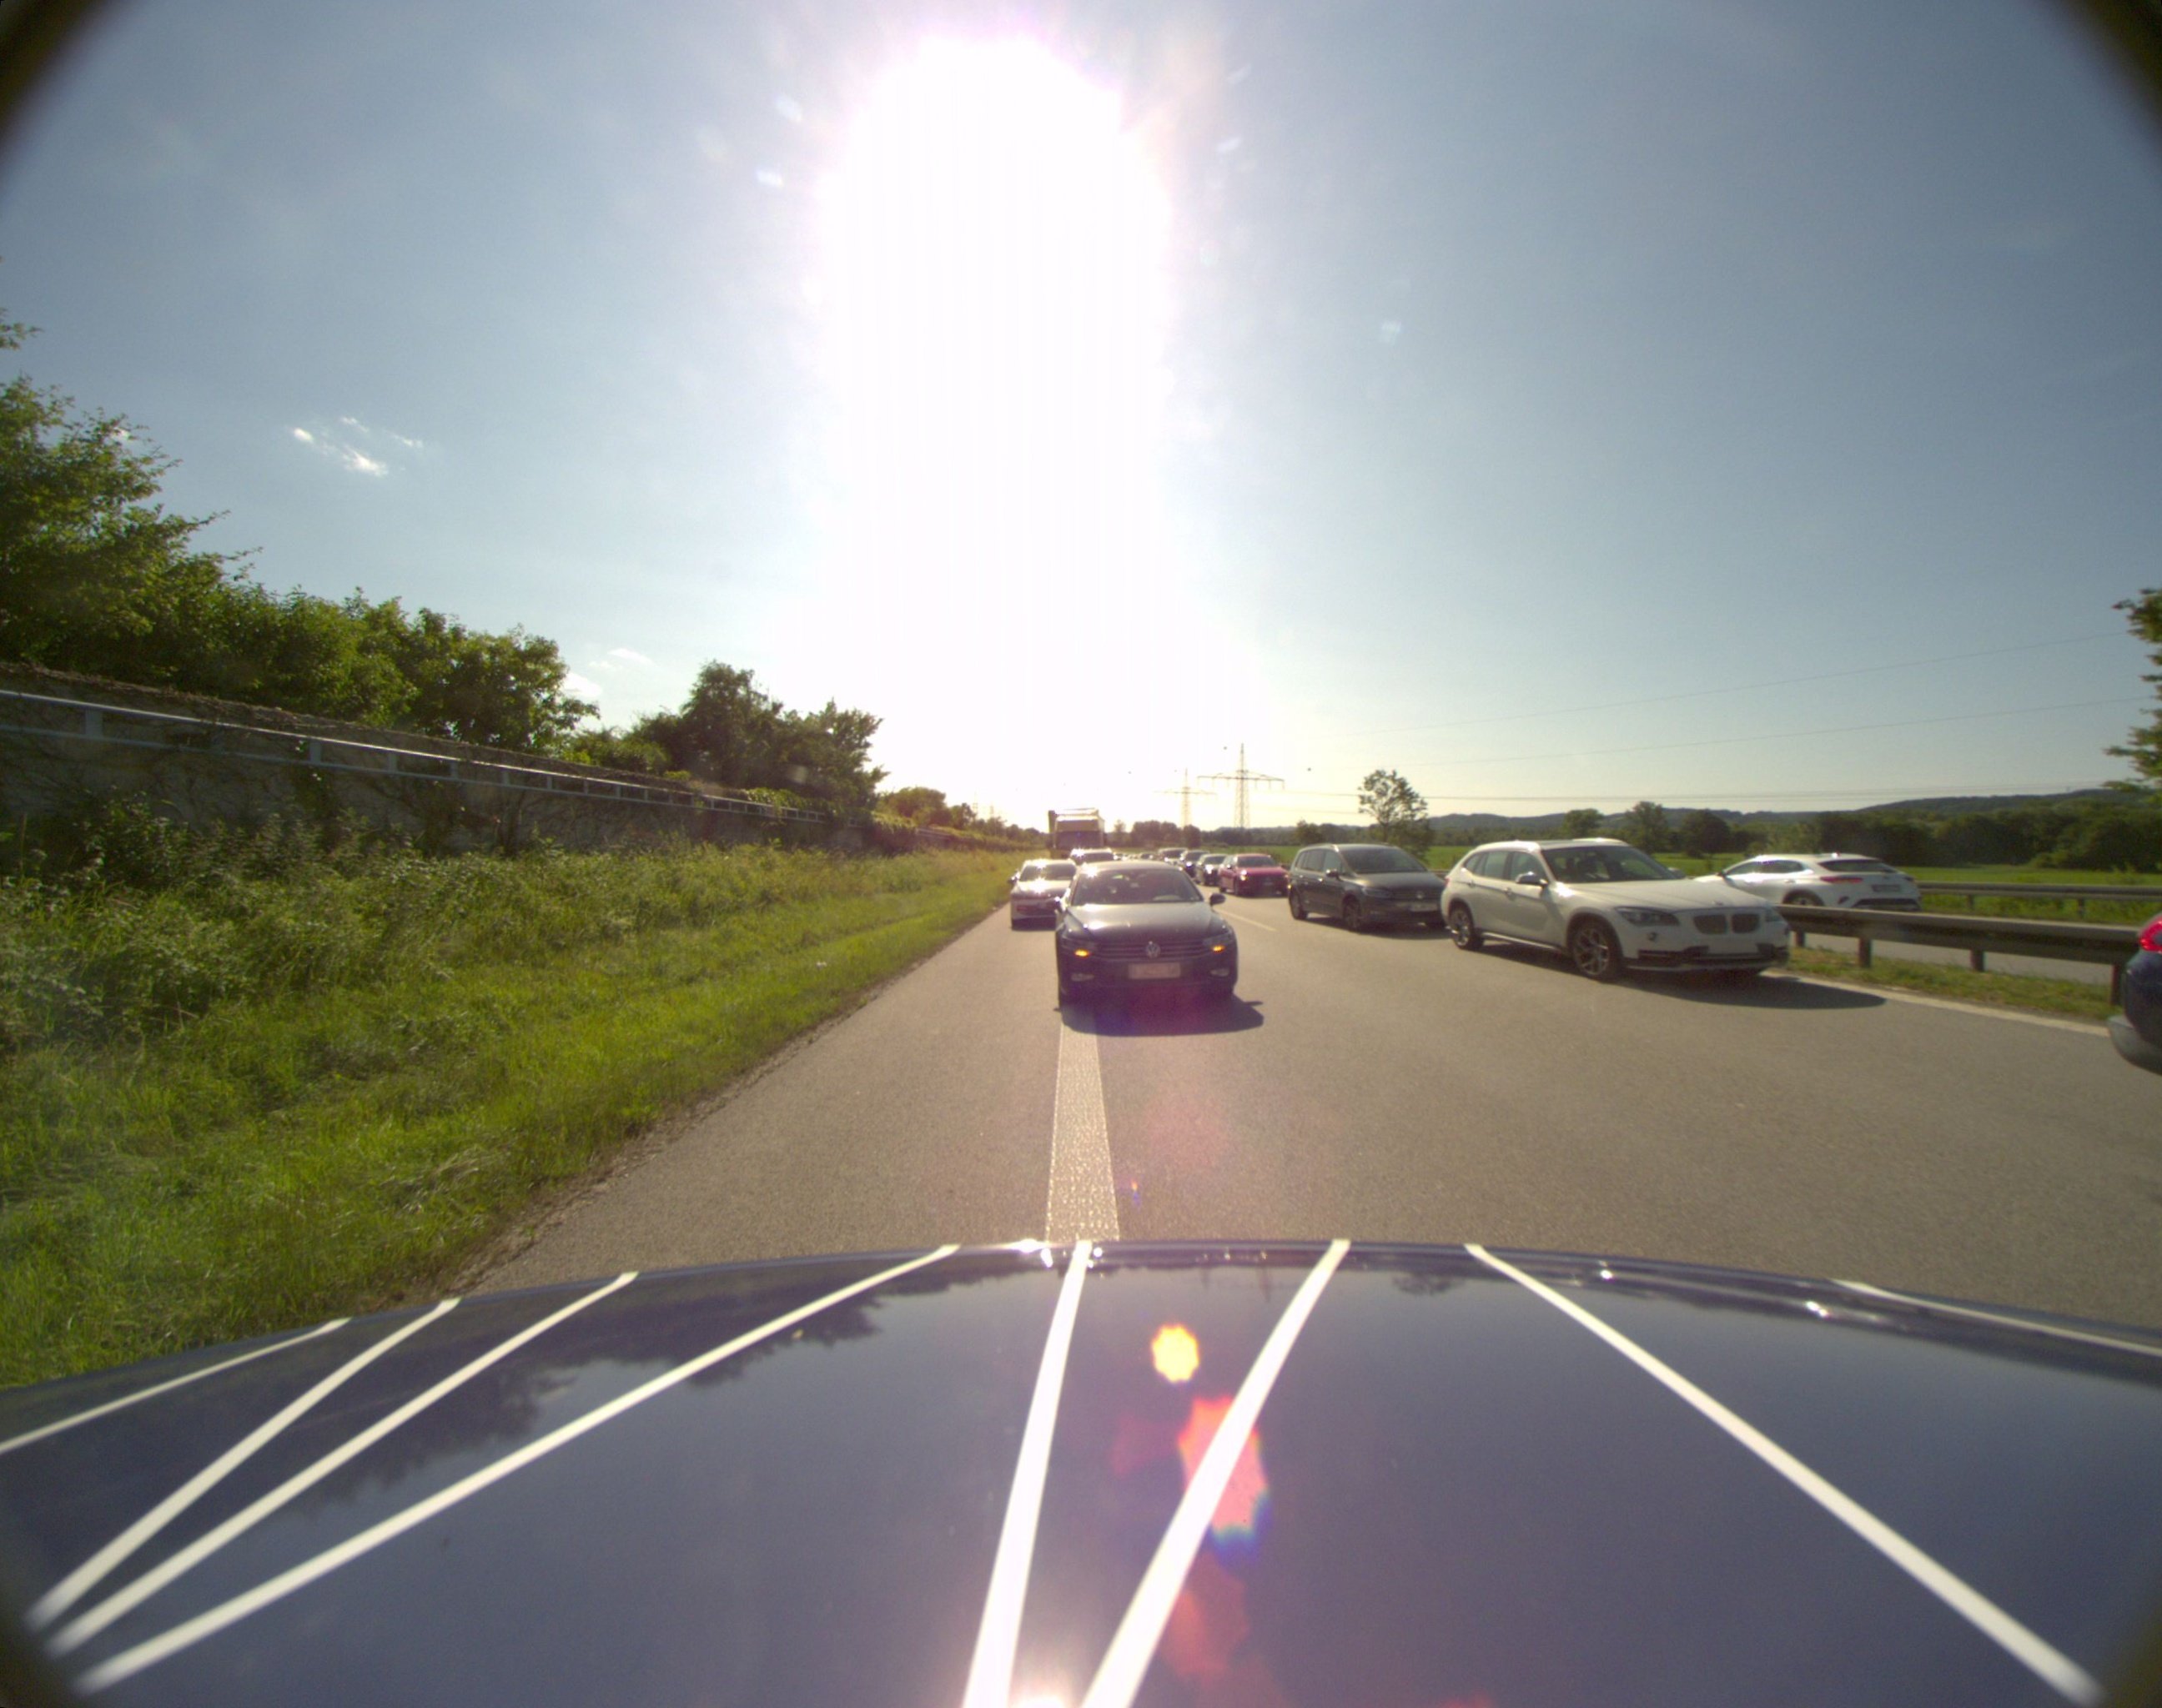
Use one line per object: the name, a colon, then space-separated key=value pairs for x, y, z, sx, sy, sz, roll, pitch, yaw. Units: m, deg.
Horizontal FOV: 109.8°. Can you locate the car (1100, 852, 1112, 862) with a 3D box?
car: x=4.035 y=0.502 z=124.453 sx=1.820 sy=1.450 sz=4.117 roll=-2 pitch=0 yaw=0

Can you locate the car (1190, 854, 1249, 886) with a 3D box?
car: x=6.400 y=0.690 z=35.480 sx=1.895 sy=1.390 sz=3.999 roll=-1 pitch=0 yaw=-2

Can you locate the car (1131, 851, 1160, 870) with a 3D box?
car: x=5.488 y=0.559 z=64.889 sx=1.999 sy=1.522 sz=3.999 roll=-1 pitch=0 yaw=-1

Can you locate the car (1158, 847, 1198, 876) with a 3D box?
car: x=6.123 y=0.456 z=48.434 sx=1.902 sy=1.777 sz=4.199 roll=0 pitch=0 yaw=-2

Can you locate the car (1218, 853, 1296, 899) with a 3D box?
car: x=6.103 y=0.718 z=26.771 sx=1.820 sy=1.450 sz=4.117 roll=0 pitch=0 yaw=0

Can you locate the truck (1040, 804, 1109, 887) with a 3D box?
truck: x=-0.266 y=-0.472 z=41.631 sx=3.333 sy=4.089 sz=6.969 roll=-2 pitch=1 yaw=1

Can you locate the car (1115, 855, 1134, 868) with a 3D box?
car: x=4.852 y=0.830 z=84.974 sx=1.820 sy=1.450 sz=4.117 roll=0 pitch=0 yaw=-1

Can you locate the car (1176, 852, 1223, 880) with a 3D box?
car: x=6.400 y=0.638 z=41.570 sx=1.894 sy=1.446 sz=3.999 roll=-1 pitch=0 yaw=-1

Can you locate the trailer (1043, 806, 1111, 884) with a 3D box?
trailer: x=0.032 y=-0.556 z=47.734 sx=3.387 sy=4.089 sz=13.953 roll=-2 pitch=1 yaw=3

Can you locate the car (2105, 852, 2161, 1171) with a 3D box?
car: x=6.150 y=0.733 z=1.916 sx=1.692 sy=1.526 sz=3.947 roll=-2 pitch=0 yaw=-4

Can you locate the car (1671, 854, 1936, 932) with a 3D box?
car: x=15.543 y=0.755 z=16.735 sx=1.699 sy=1.418 sz=4.304 roll=-2 pitch=0 yaw=0

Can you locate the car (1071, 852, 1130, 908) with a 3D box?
car: x=0.556 y=0.770 z=24.804 sx=1.717 sy=1.614 sz=4.325 roll=-2 pitch=0 yaw=-1

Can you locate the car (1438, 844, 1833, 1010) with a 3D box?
car: x=6.338 y=0.696 z=9.414 sx=1.832 sy=1.564 sz=4.163 roll=-1 pitch=0 yaw=0

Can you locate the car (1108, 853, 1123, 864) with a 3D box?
car: x=4.698 y=0.645 z=104.092 sx=1.820 sy=1.450 sz=4.117 roll=-2 pitch=0 yaw=-1

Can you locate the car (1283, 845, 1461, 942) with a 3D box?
car: x=5.547 y=0.670 z=15.103 sx=1.820 sy=1.607 sz=4.116 roll=-2 pitch=0 yaw=-2

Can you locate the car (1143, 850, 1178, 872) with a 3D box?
car: x=5.779 y=0.500 z=55.601 sx=1.999 sy=1.522 sz=3.999 roll=-1 pitch=0 yaw=-1

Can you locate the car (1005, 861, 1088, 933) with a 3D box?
car: x=-0.764 y=0.940 z=18.320 sx=1.717 sy=1.417 sz=4.325 roll=-2 pitch=0 yaw=-1

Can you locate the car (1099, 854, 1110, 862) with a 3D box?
car: x=3.947 y=0.665 z=130.099 sx=1.820 sy=1.450 sz=4.117 roll=0 pitch=0 yaw=0

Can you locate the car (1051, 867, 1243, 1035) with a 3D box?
car: x=0.583 y=0.925 z=9.128 sx=1.717 sy=1.405 sz=4.325 roll=-2 pitch=0 yaw=-1

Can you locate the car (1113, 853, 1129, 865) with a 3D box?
car: x=5.016 y=0.597 z=95.671 sx=1.820 sy=1.450 sz=4.117 roll=0 pitch=0 yaw=0

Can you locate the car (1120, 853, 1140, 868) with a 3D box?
car: x=5.038 y=0.626 z=78.384 sx=1.820 sy=1.450 sz=4.117 roll=-2 pitch=0 yaw=0
